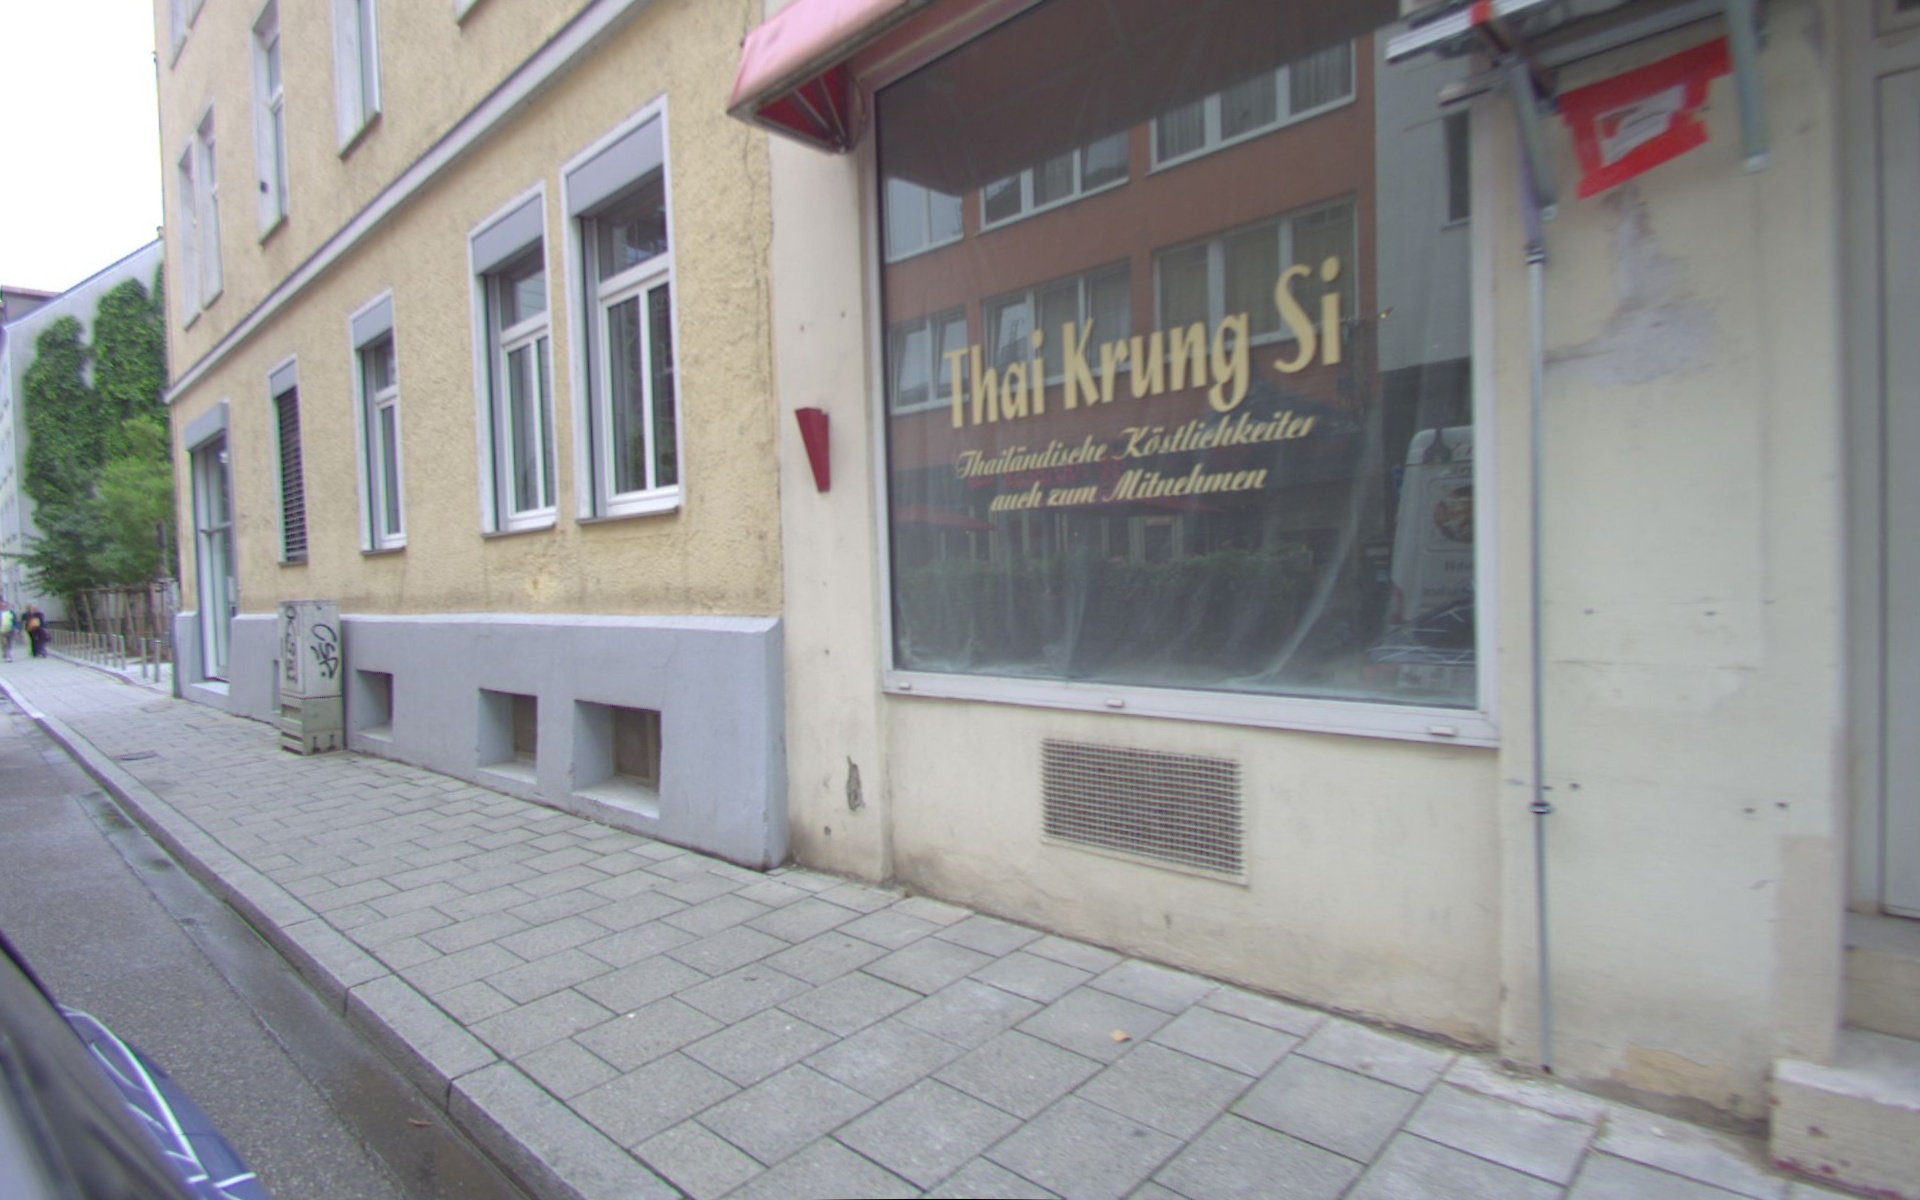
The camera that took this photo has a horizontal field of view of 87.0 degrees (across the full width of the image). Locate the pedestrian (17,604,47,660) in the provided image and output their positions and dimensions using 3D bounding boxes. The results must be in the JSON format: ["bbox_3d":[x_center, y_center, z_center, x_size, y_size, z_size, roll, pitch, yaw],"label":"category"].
[{"bbox_3d":[-28.568,0.986,31.159,0.998,1.672,0.546,-1,2,44],"label":"pedestrian"}]

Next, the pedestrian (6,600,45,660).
[{"bbox_3d":[-29.854,0.945,32.324,0.992,1.850,0.767,-1,2,44],"label":"pedestrian"}]

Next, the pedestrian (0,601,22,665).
[{"bbox_3d":[-28.680,0.994,30.232,0.849,1.858,0.974,-5,3,-44],"label":"pedestrian"}]

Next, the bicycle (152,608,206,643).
[{"bbox_3d":[-28.935,0.958,37.487,1.988,1.217,0.708,-2,3,27],"label":"bicycle"}]
